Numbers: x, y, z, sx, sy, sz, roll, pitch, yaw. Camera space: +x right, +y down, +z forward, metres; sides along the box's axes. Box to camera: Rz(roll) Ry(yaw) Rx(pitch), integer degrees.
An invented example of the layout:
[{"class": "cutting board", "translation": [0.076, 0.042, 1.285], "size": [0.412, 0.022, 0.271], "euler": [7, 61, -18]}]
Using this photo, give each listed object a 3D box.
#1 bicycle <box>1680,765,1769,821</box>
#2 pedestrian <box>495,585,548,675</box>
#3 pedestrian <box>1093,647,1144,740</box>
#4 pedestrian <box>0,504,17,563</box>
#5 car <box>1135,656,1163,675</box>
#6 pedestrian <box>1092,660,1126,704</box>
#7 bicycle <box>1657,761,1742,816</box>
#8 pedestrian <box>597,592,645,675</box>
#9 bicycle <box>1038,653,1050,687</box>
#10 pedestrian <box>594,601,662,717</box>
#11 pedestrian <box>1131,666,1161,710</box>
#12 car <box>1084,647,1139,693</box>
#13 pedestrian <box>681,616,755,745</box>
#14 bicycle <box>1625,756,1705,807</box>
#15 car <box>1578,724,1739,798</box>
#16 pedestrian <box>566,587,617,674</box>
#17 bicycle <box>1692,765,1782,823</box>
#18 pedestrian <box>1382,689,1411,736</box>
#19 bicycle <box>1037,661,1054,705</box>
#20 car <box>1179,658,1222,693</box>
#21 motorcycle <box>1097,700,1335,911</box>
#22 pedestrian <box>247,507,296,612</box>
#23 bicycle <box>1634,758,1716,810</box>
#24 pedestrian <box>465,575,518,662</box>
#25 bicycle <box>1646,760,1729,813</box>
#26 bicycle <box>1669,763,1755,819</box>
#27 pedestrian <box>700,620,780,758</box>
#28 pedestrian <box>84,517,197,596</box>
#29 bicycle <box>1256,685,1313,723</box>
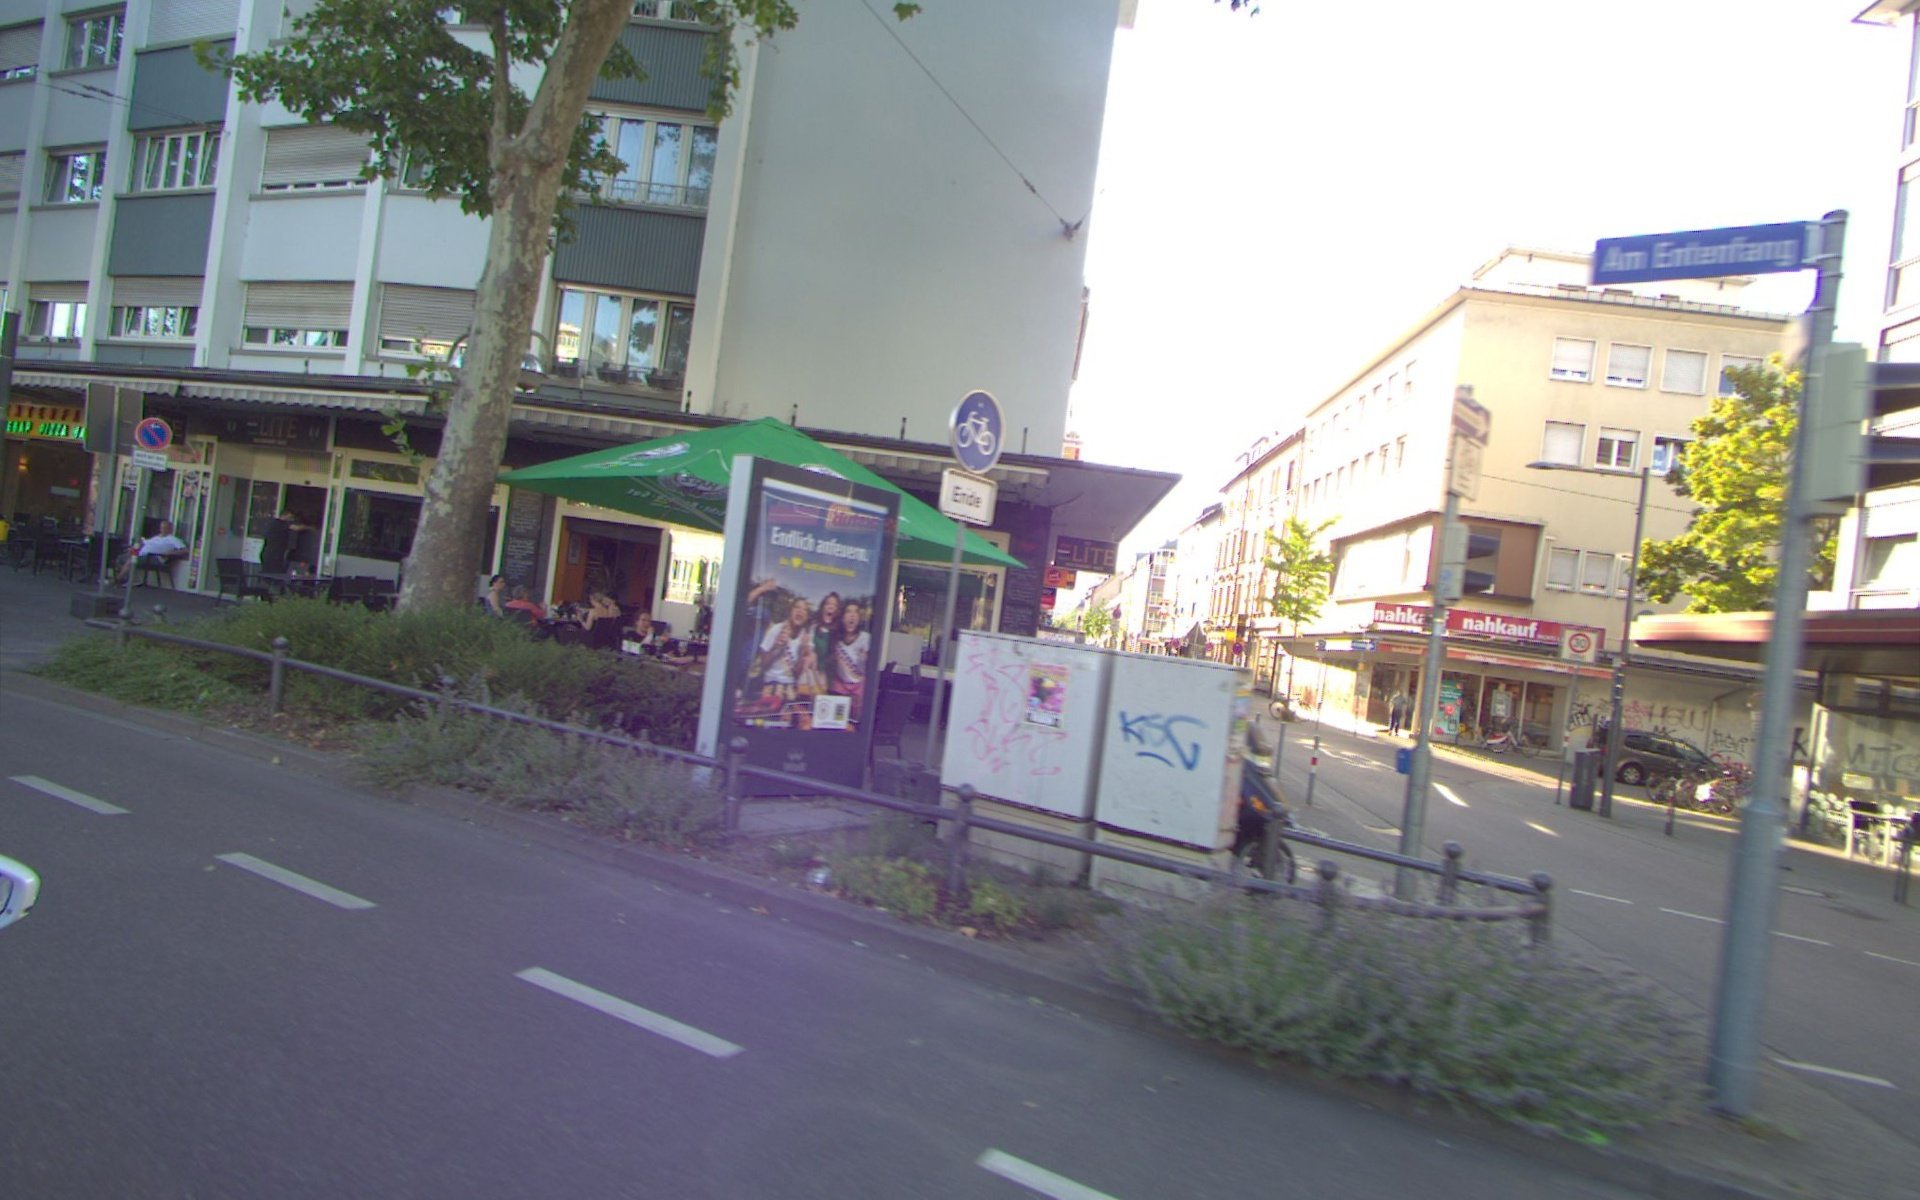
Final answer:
[{"class": "bicycle", "translation": [17.267, 4.354, 22.736], "size": [1.577, 0.993, 0.357], "euler": [8, -1, 3]}, {"class": "pedestrian", "translation": [-6.370, 0.438, 14.620], "size": [0.392, 1.252, 0.452], "euler": [8, 0, 4]}, {"class": "pedestrian", "translation": [2.868, 1.683, 18.149], "size": [0.592, 1.565, 0.717], "euler": [8, -2, 19]}, {"class": "pedestrian", "translation": [-18.862, -1.339, 19.353], "size": [0.752, 1.122, 0.707], "euler": [7, -1, 22]}, {"class": "car", "translation": [15.333, 5.330, 81.727], "size": [1.807, 1.237, 4.007], "euler": [9, -3, 8]}, {"class": "pedestrian", "translation": [4.747, 2.617, 31.998], "size": [0.721, 1.257, 0.551], "euler": [8, -2, 39]}, {"class": "bicycle", "translation": [17.317, 4.414, 23.580], "size": [1.577, 0.993, 0.357], "euler": [8, -1, 3]}, {"class": "pedestrian", "translation": [-5.398, 0.531, 16.017], "size": [0.444, 1.252, 0.399], "euler": [7, 0, 34]}, {"class": "bicycle", "translation": [2.943, 2.442, 35.312], "size": [0.289, 1.054, 1.717], "euler": [5, 1, 3]}, {"class": "pedestrian", "translation": [-3.792, 0.677, 11.498], "size": [0.444, 1.252, 0.398], "euler": [7, 0, 35]}, {"class": "pedestrian", "translation": [5.890, 2.792, 31.929], "size": [0.681, 1.257, 0.598], "euler": [9, -2, 1]}, {"class": "car", "translation": [6.419, 2.962, 42.981], "size": [1.808, 1.513, 4.002], "euler": [9, -1, 4]}, {"class": "pedestrian", "translation": [-2.491, 0.832, 10.367], "size": [0.444, 1.252, 0.399], "euler": [7, 0, 34]}, {"class": "bicycle", "translation": [17.375, 4.472, 24.801], "size": [1.577, 0.993, 0.357], "euler": [8, -1, 3]}, {"class": "car", "translation": [21.904, 5.033, 31.680], "size": [3.661, 1.607, 1.661], "euler": [8, -1, 7]}, {"class": "pedestrian", "translation": [-5.628, 0.465, 15.351], "size": [0.444, 1.252, 0.399], "euler": [7, 0, 34]}, {"class": "bicycle", "translation": [17.253, 4.303, 22.338], "size": [1.577, 0.993, 0.357], "euler": [8, -1, 3]}, {"class": "pedestrian", "translation": [15.606, 4.015, 35.969], "size": [0.653, 1.593, 0.695], "euler": [8, -2, 16]}, {"class": "bicycle", "translation": [2.243, 2.158, 26.425], "size": [0.289, 1.053, 1.720], "euler": [5, -2, 3]}, {"class": "car", "translation": [13.859, 4.357, 58.137], "size": [1.807, 1.680, 4.007], "euler": [9, -3, 8]}, {"class": "motorcycle", "translation": [1.797, 1.418, 7.207], "size": [0.569, 1.171, 1.443], "euler": [10, -3, -43]}, {"class": "pedestrian", "translation": [-11.813, -0.691, 17.264], "size": [0.304, 1.737, 0.358], "euler": [8, -2, 29]}, {"class": "bicycle", "translation": [17.339, 4.462, 24.409], "size": [1.577, 0.993, 0.357], "euler": [8, -1, 3]}, {"class": "pedestrian", "translation": [-7.130, 0.285, 15.326], "size": [0.443, 1.252, 0.400], "euler": [8, 0, 5]}, {"class": "bicycle", "translation": [17.332, 4.446, 23.981], "size": [1.577, 0.993, 0.357], "euler": [8, -1, 3]}, {"class": "bicycle", "translation": [17.302, 4.393, 23.157], "size": [1.577, 0.993, 0.357], "euler": [8, -1, 3]}, {"class": "pedestrian", "translation": [-2.112, 0.851, 9.661], "size": [0.444, 1.252, 0.398], "euler": [7, 0, 35]}, {"class": "pedestrian", "translation": [-14.758, -0.766, 18.142], "size": [0.909, 1.211, 1.182], "euler": [7, -1, 22]}, {"class": "bicycle", "translation": [12.328, 3.935, 38.234], "size": [1.875, 1.137, 0.510], "euler": [8, 0, 3]}]
